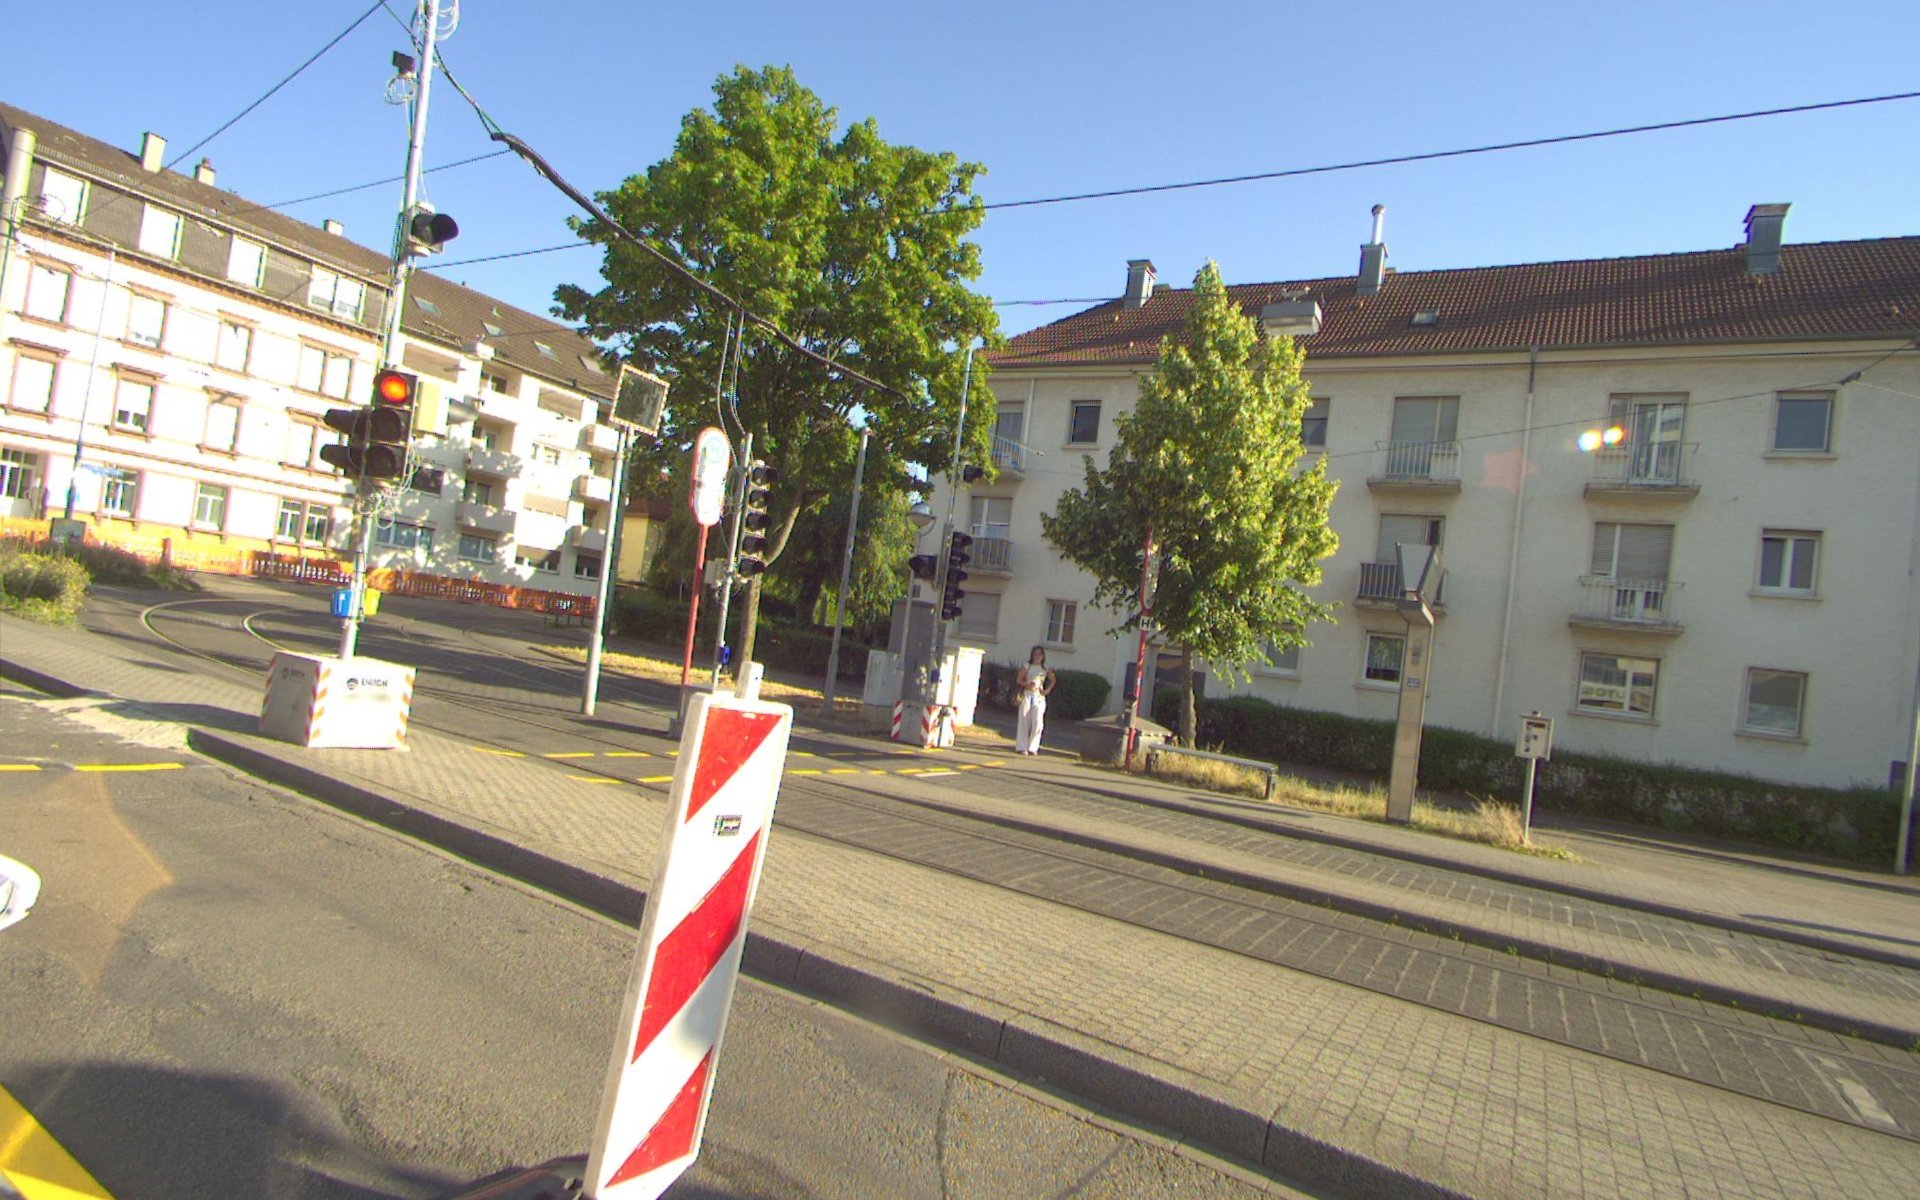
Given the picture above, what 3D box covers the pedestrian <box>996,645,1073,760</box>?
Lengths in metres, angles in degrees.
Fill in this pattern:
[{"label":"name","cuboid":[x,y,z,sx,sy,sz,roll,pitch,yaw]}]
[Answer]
[{"label":"pedestrian","cuboid":[1.168,1.588,15.709,0.811,1.639,0.791,7,-1,22]}]
